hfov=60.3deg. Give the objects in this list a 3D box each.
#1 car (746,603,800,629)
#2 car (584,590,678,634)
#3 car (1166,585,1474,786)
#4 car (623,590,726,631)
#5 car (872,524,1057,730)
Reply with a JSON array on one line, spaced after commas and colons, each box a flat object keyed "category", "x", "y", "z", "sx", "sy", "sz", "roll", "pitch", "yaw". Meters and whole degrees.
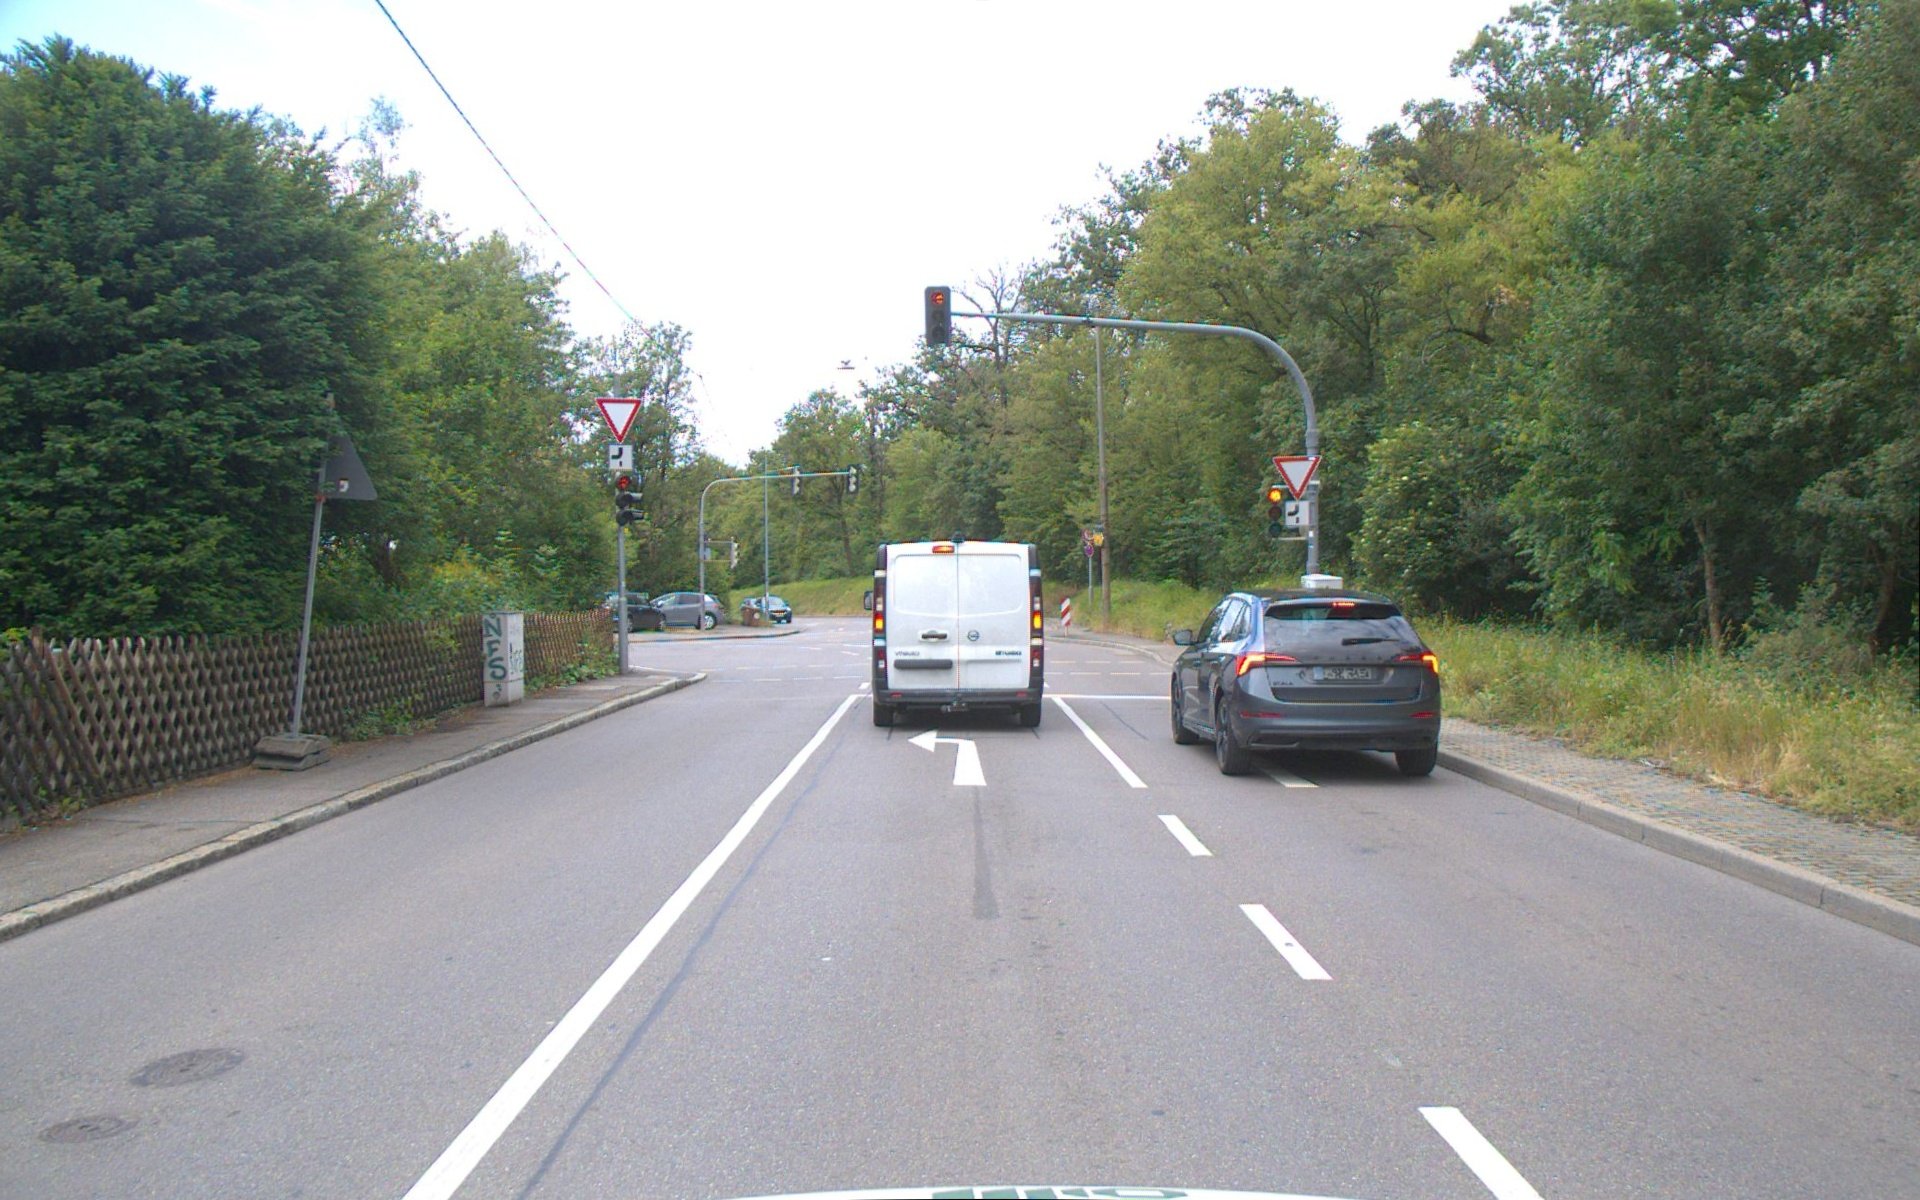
[{"category": "car", "x": -11.552, "y": 0.959, "z": 102.068, "sx": 1.838, "sy": 1.533, "sz": 3.959, "roll": -2, "pitch": 1, "yaw": -30}, {"category": "car", "x": -11.605, "y": 0.419, "z": 58.538, "sx": 1.662, "sy": 1.474, "sz": 3.544, "roll": 1, "pitch": 0, "yaw": 19}, {"category": "car", "x": 2.948, "y": 0.618, "z": 14.391, "sx": 1.756, "sy": 1.476, "sz": 4.000, "roll": -1, "pitch": 1, "yaw": -1}, {"category": "car", "x": -11.865, "y": 0.427, "z": 68.708, "sx": 4.022, "sy": 1.580, "sz": 1.846, "roll": -1, "pitch": 1, "yaw": -18}, {"category": "car", "x": -0.047, "y": 0.258, "z": 19.232, "sx": 1.878, "sy": 2.089, "sz": 4.612, "roll": 1, "pitch": 0, "yaw": -3}]
